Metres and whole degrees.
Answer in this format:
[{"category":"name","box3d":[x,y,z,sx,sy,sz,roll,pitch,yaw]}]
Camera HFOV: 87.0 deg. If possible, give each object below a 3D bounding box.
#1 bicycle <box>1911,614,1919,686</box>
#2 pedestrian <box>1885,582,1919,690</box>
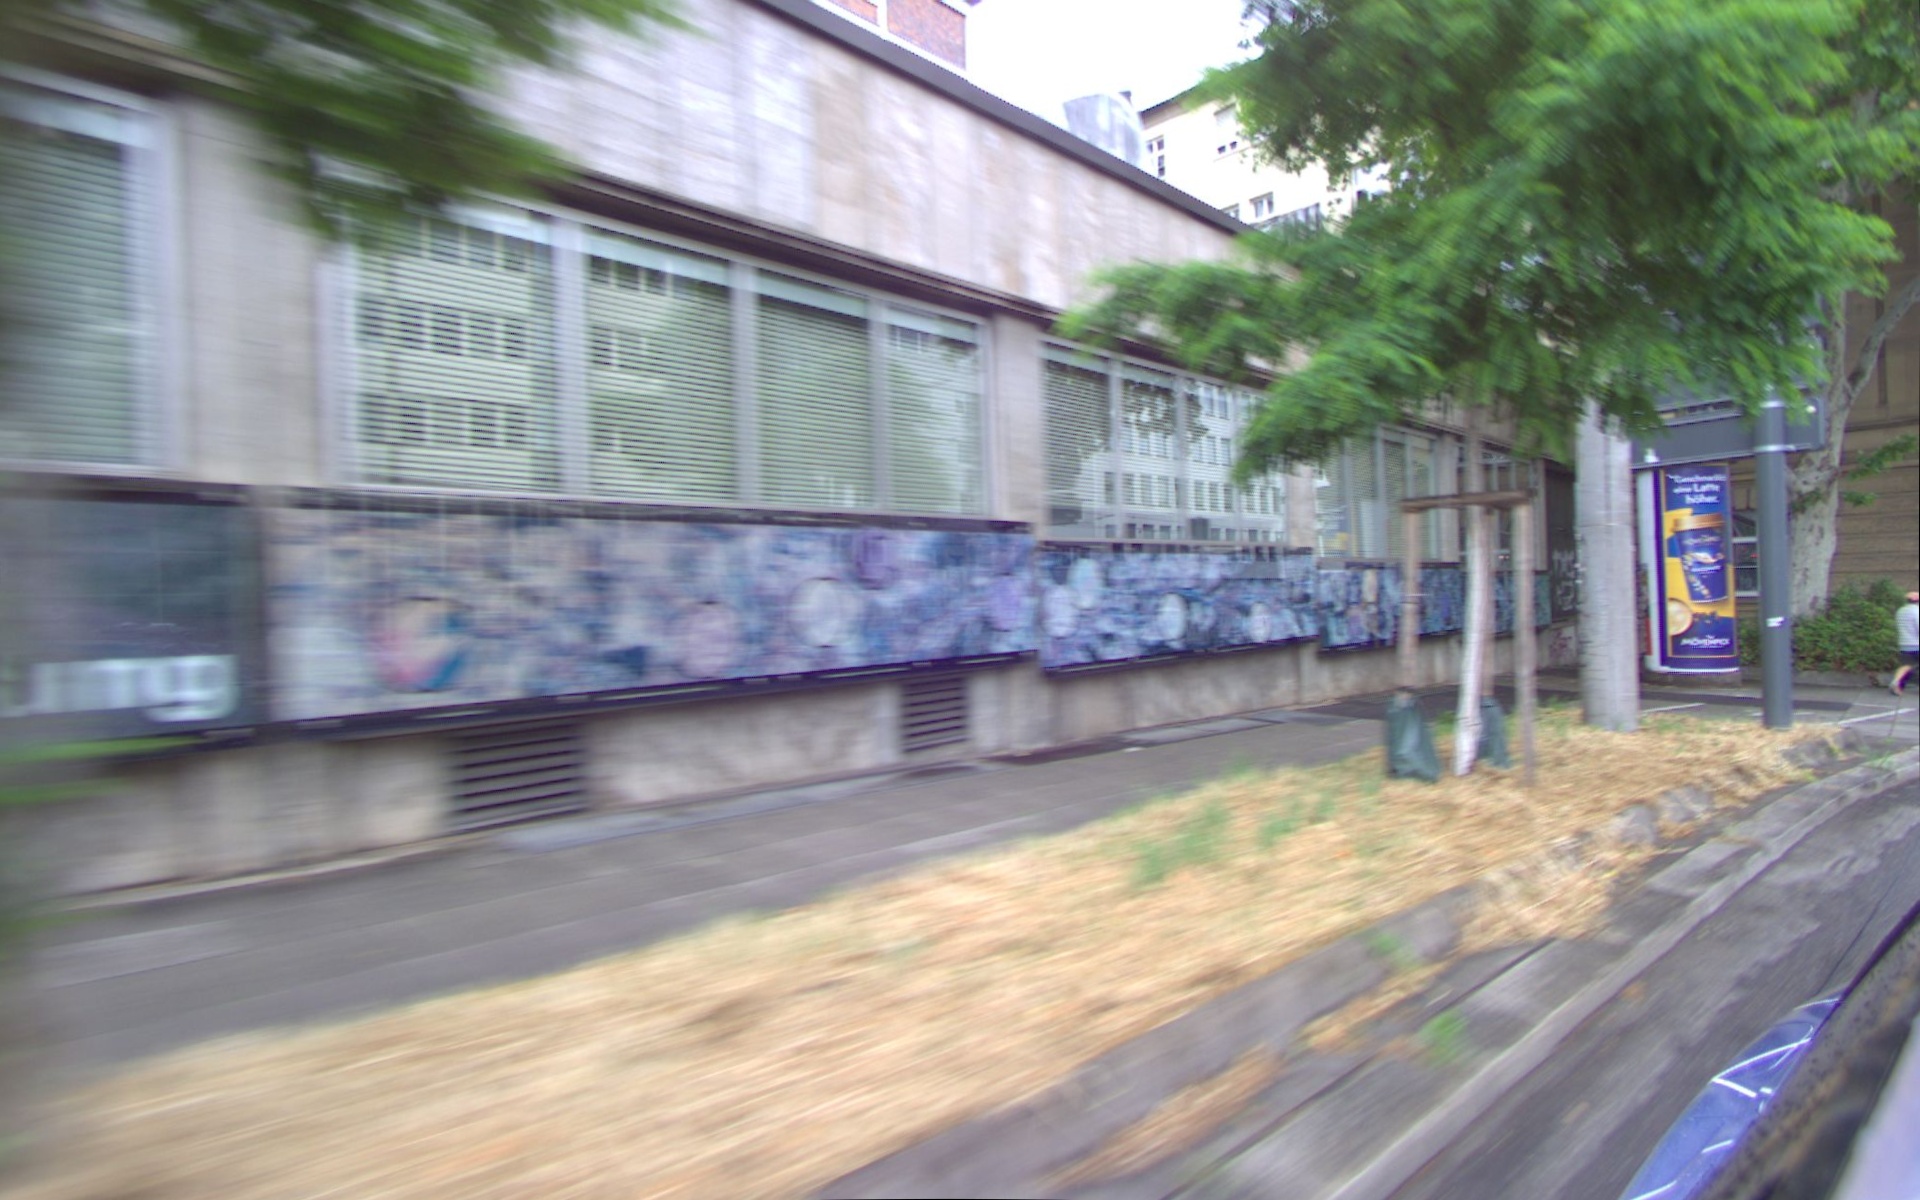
[{"category":"bicycle","box3d":[16.877,0.860,17.341,0.892,1.236,0.621,0,0,-31]},{"category":"pedestrian","box3d":[16.058,0.591,16.824,0.999,1.764,0.721,1,1,-31]}]
